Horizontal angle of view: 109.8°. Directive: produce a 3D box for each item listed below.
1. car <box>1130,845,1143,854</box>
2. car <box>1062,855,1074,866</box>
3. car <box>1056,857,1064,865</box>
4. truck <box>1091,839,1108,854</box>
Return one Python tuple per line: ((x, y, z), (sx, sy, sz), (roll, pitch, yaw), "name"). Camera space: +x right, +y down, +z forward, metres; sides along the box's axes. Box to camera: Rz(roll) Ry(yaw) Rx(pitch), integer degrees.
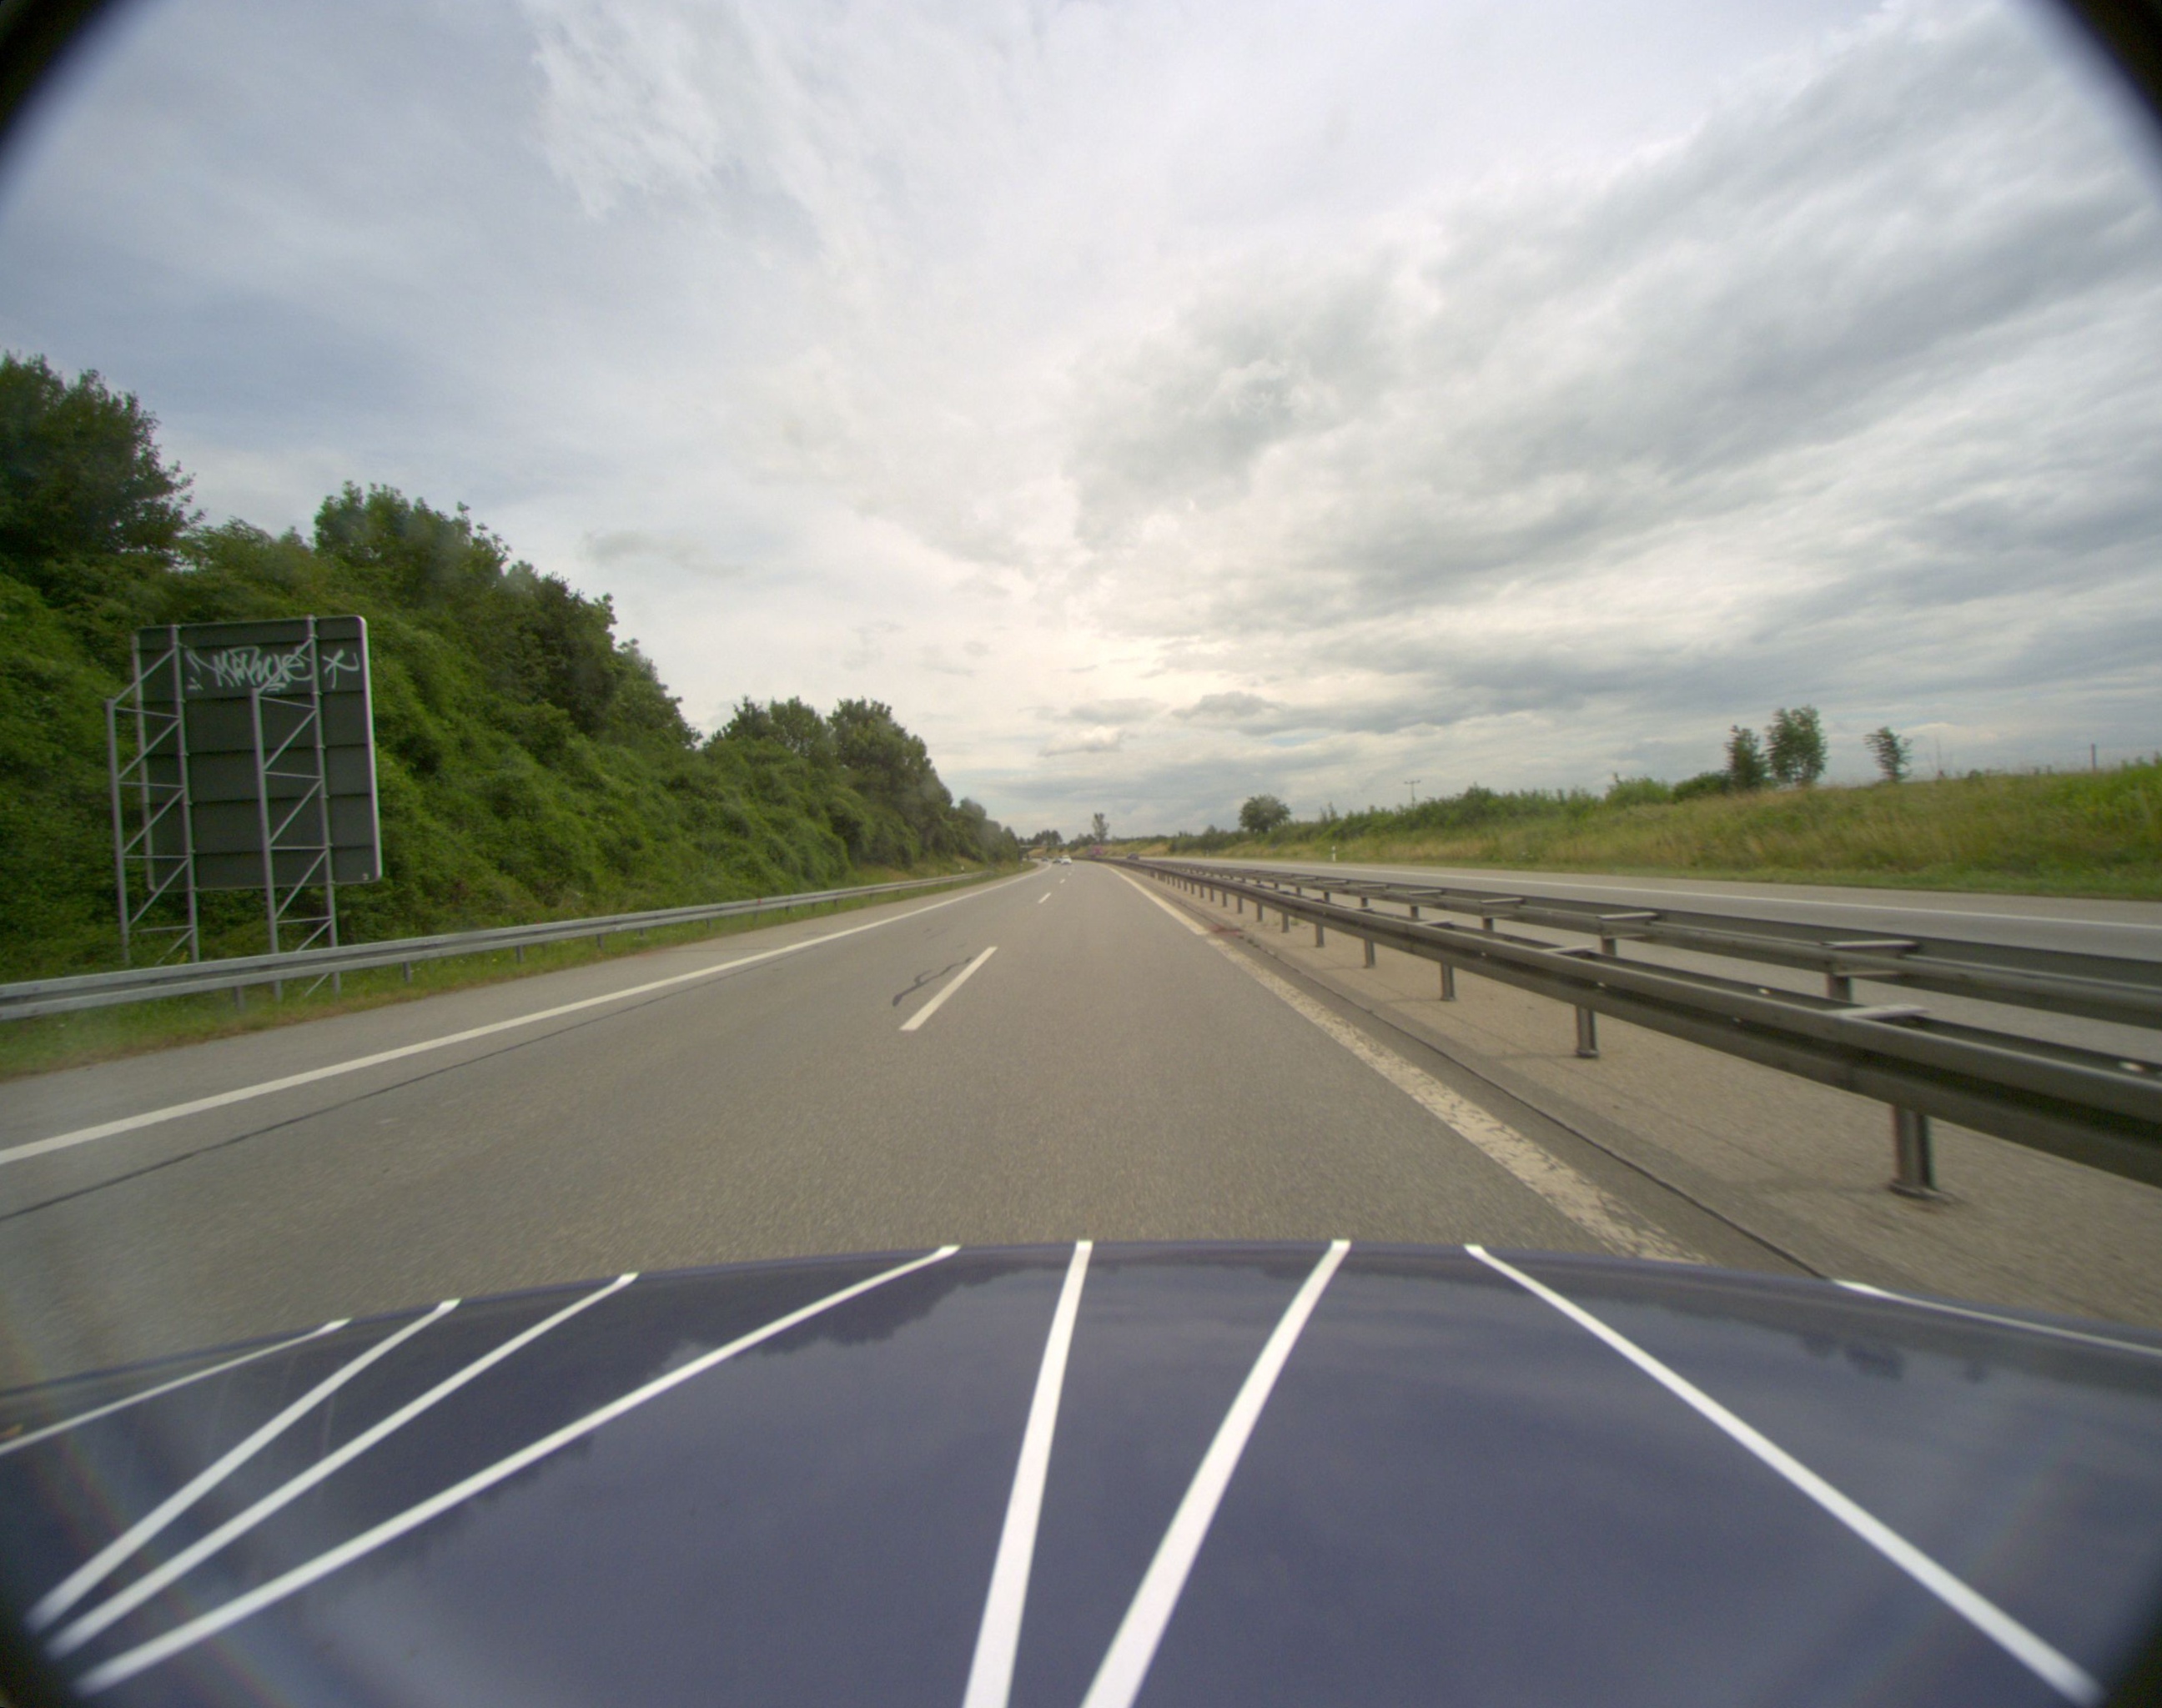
((9.783, -0.811, 134.705), (1.710, 1.345, 4.938), (-5, 0, 0), "car")
((-2.333, 1.086, 133.156), (1.775, 1.813, 4.164), (-4, 0, -4), "car")
((-4.704, 1.582, 167.917), (1.650, 1.686, 4.735), (-3, 1, -3), "car")
((5.465, -2.324, 230.423), (3.340, 4.146, 13.671), (-4, 1, -5), "truck")
